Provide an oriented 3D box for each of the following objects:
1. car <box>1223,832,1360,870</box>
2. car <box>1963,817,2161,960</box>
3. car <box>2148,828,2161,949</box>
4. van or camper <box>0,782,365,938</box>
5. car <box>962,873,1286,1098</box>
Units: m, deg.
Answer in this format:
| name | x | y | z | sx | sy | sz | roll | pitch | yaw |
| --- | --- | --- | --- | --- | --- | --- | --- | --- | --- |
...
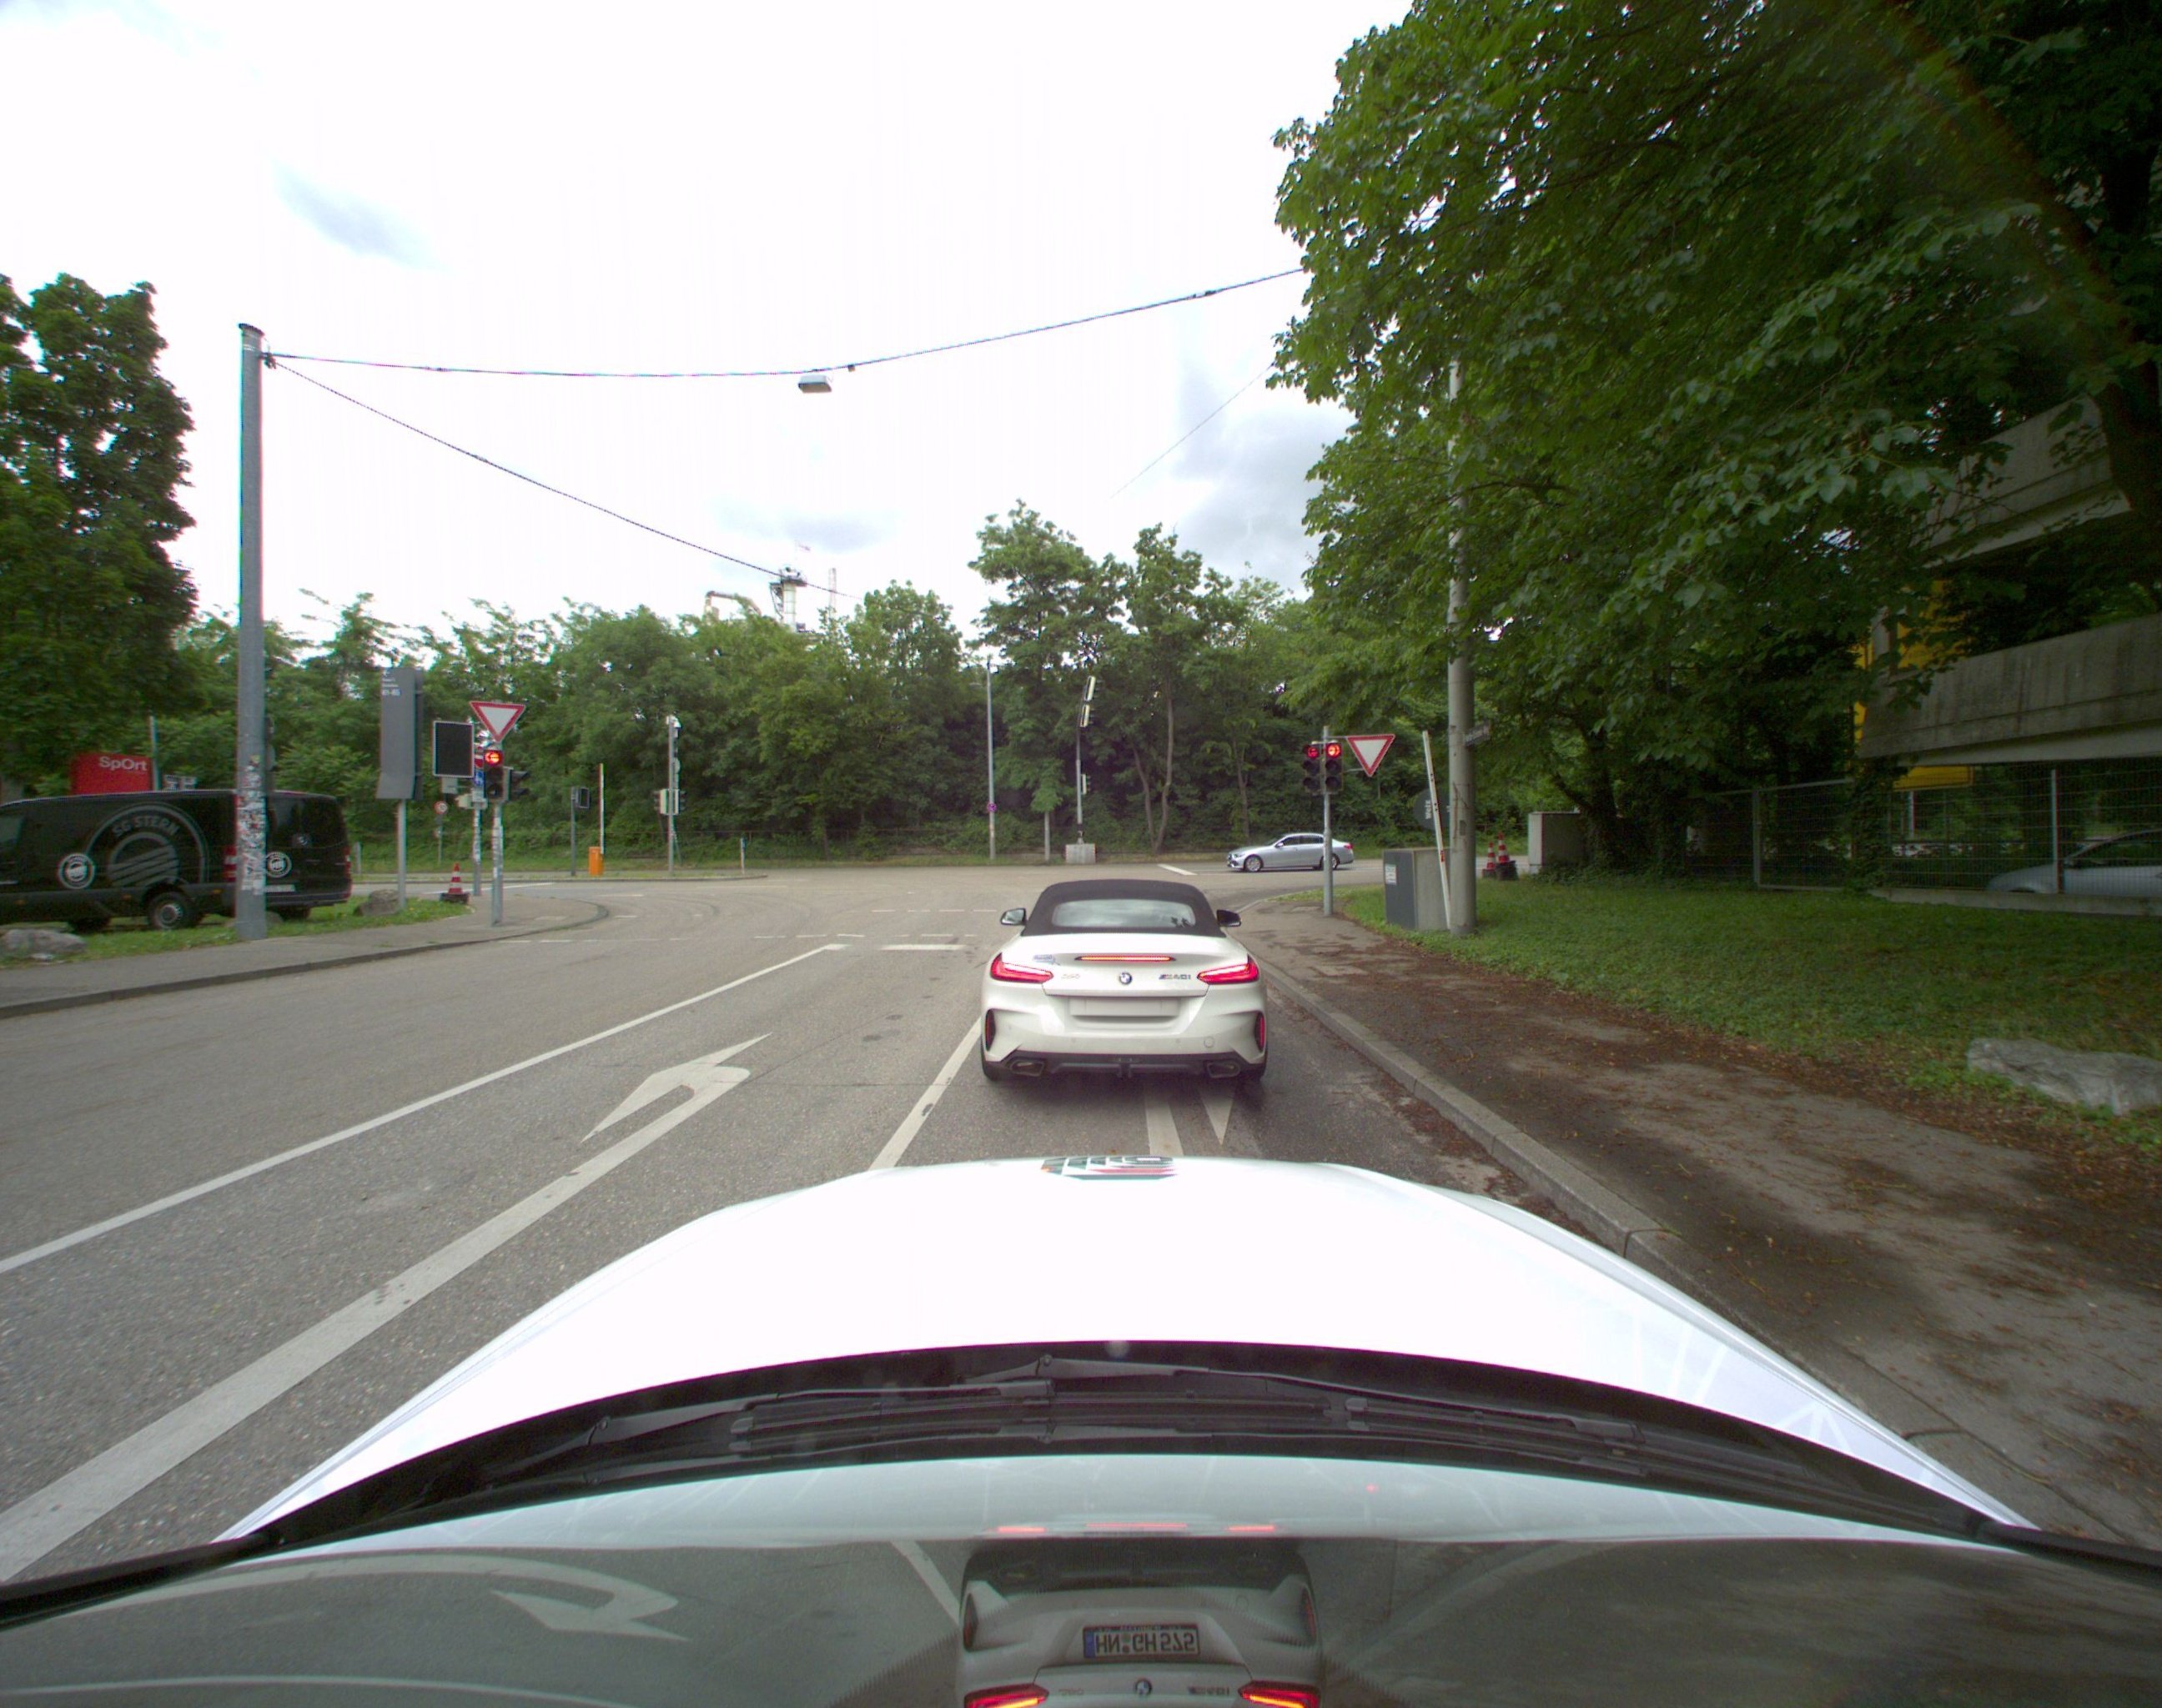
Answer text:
| name | x | y | z | sx | sy | sz | roll | pitch | yaw |
| --- | --- | --- | --- | --- | --- | --- | --- | --- | --- |
| car | 7.940 | -0.131 | 30.999 | 4.737 | 1.333 | 1.833 | -1 | 2 | -1 |
| car | 13.615 | 0.422 | 10.051 | 1.475 | 1.708 | 3.720 | 0 | -1 | 2 |
| car | 16.008 | 0.448 | 9.744 | 1.574 | 1.708 | 3.770 | 0 | -1 | 2 |
| van or camper | -15.889 | 0.158 | 13.949 | 5.513 | 2.314 | 2.063 | -2 | -2 | 2 |
| car | 0.244 | 0.788 | 6.587 | 1.822 | 1.257 | 3.998 | 0 | -1 | 0 |
